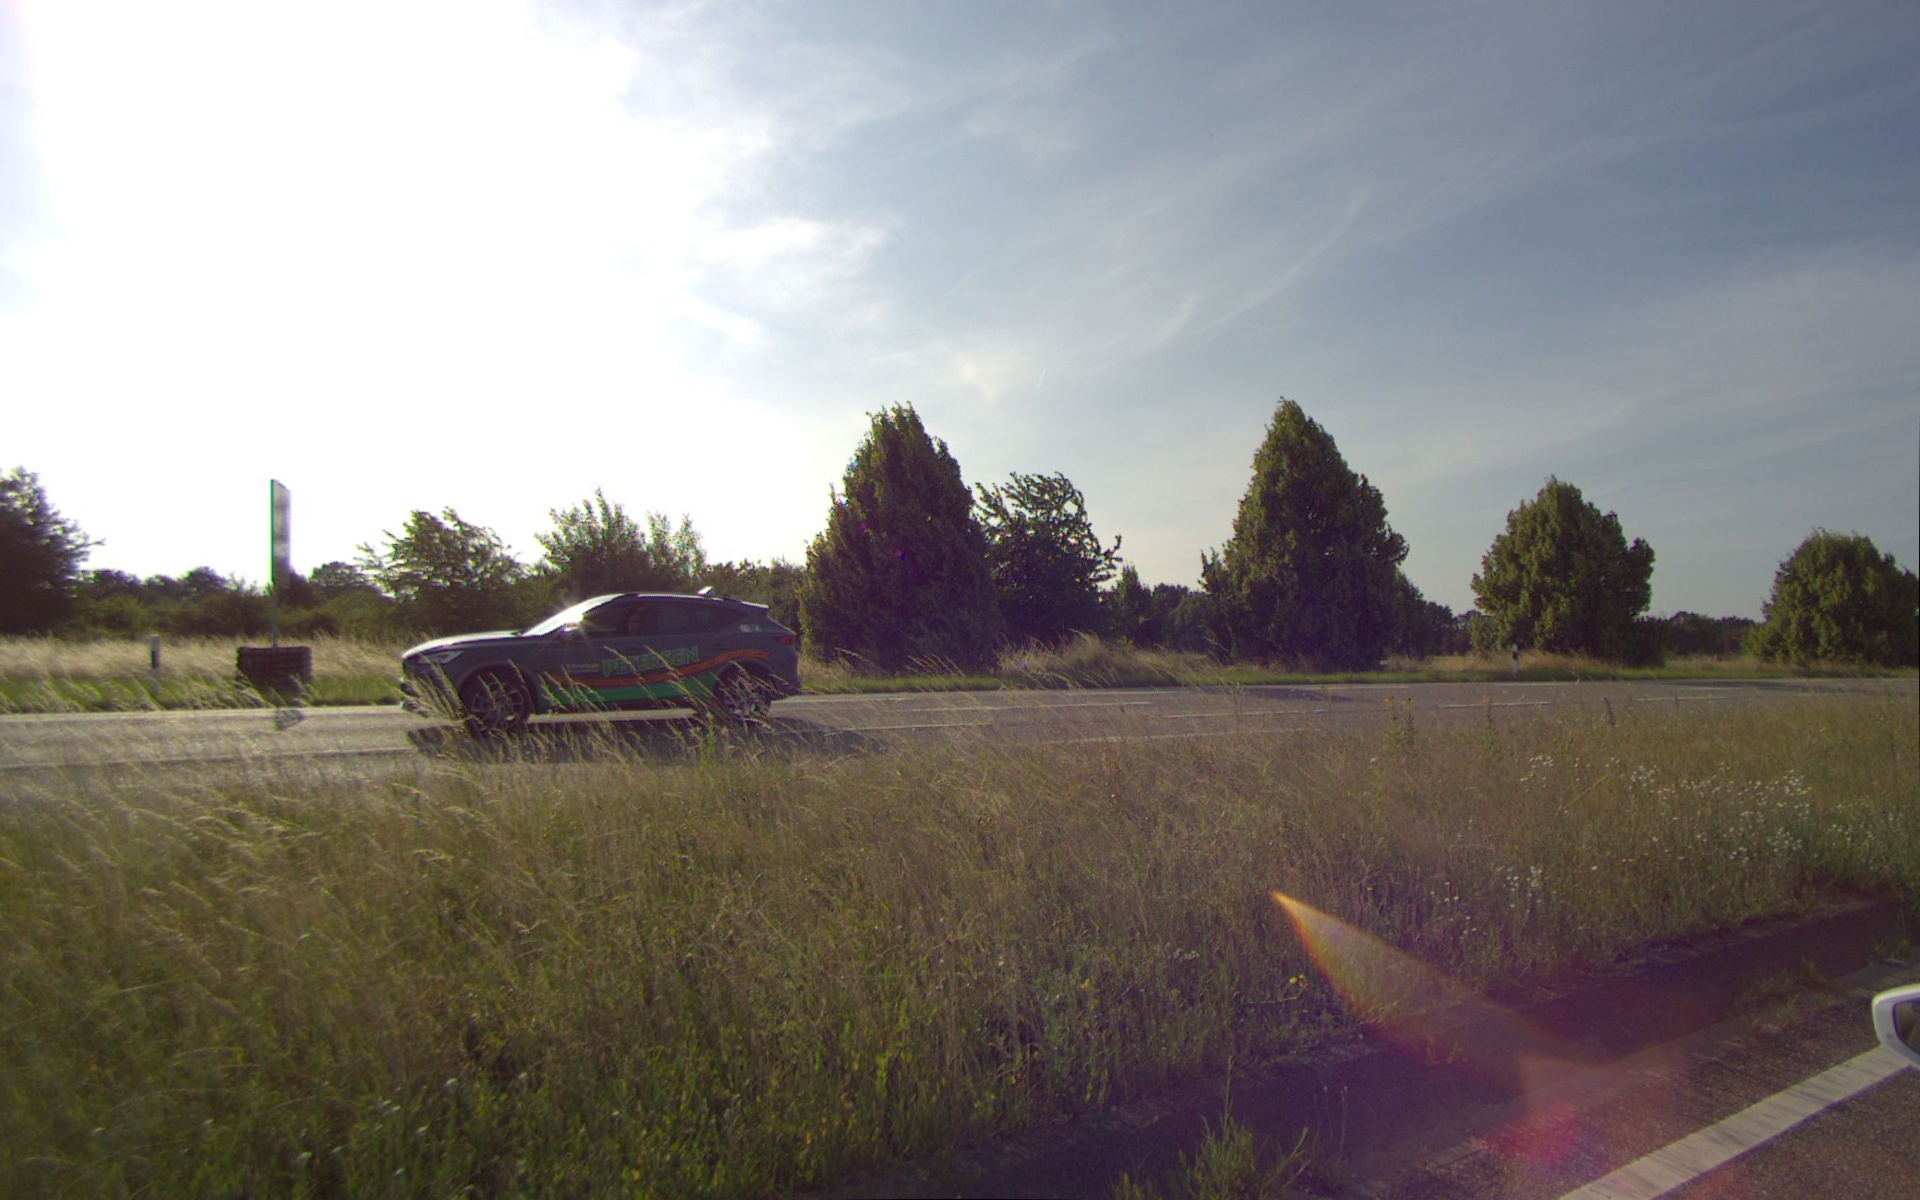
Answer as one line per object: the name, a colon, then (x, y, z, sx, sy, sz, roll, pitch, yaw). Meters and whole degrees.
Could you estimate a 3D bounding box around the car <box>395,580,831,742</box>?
car: (-4.002, 0.661, 11.802, 4.556, 1.586, 1.904, 2, -1, -30)
